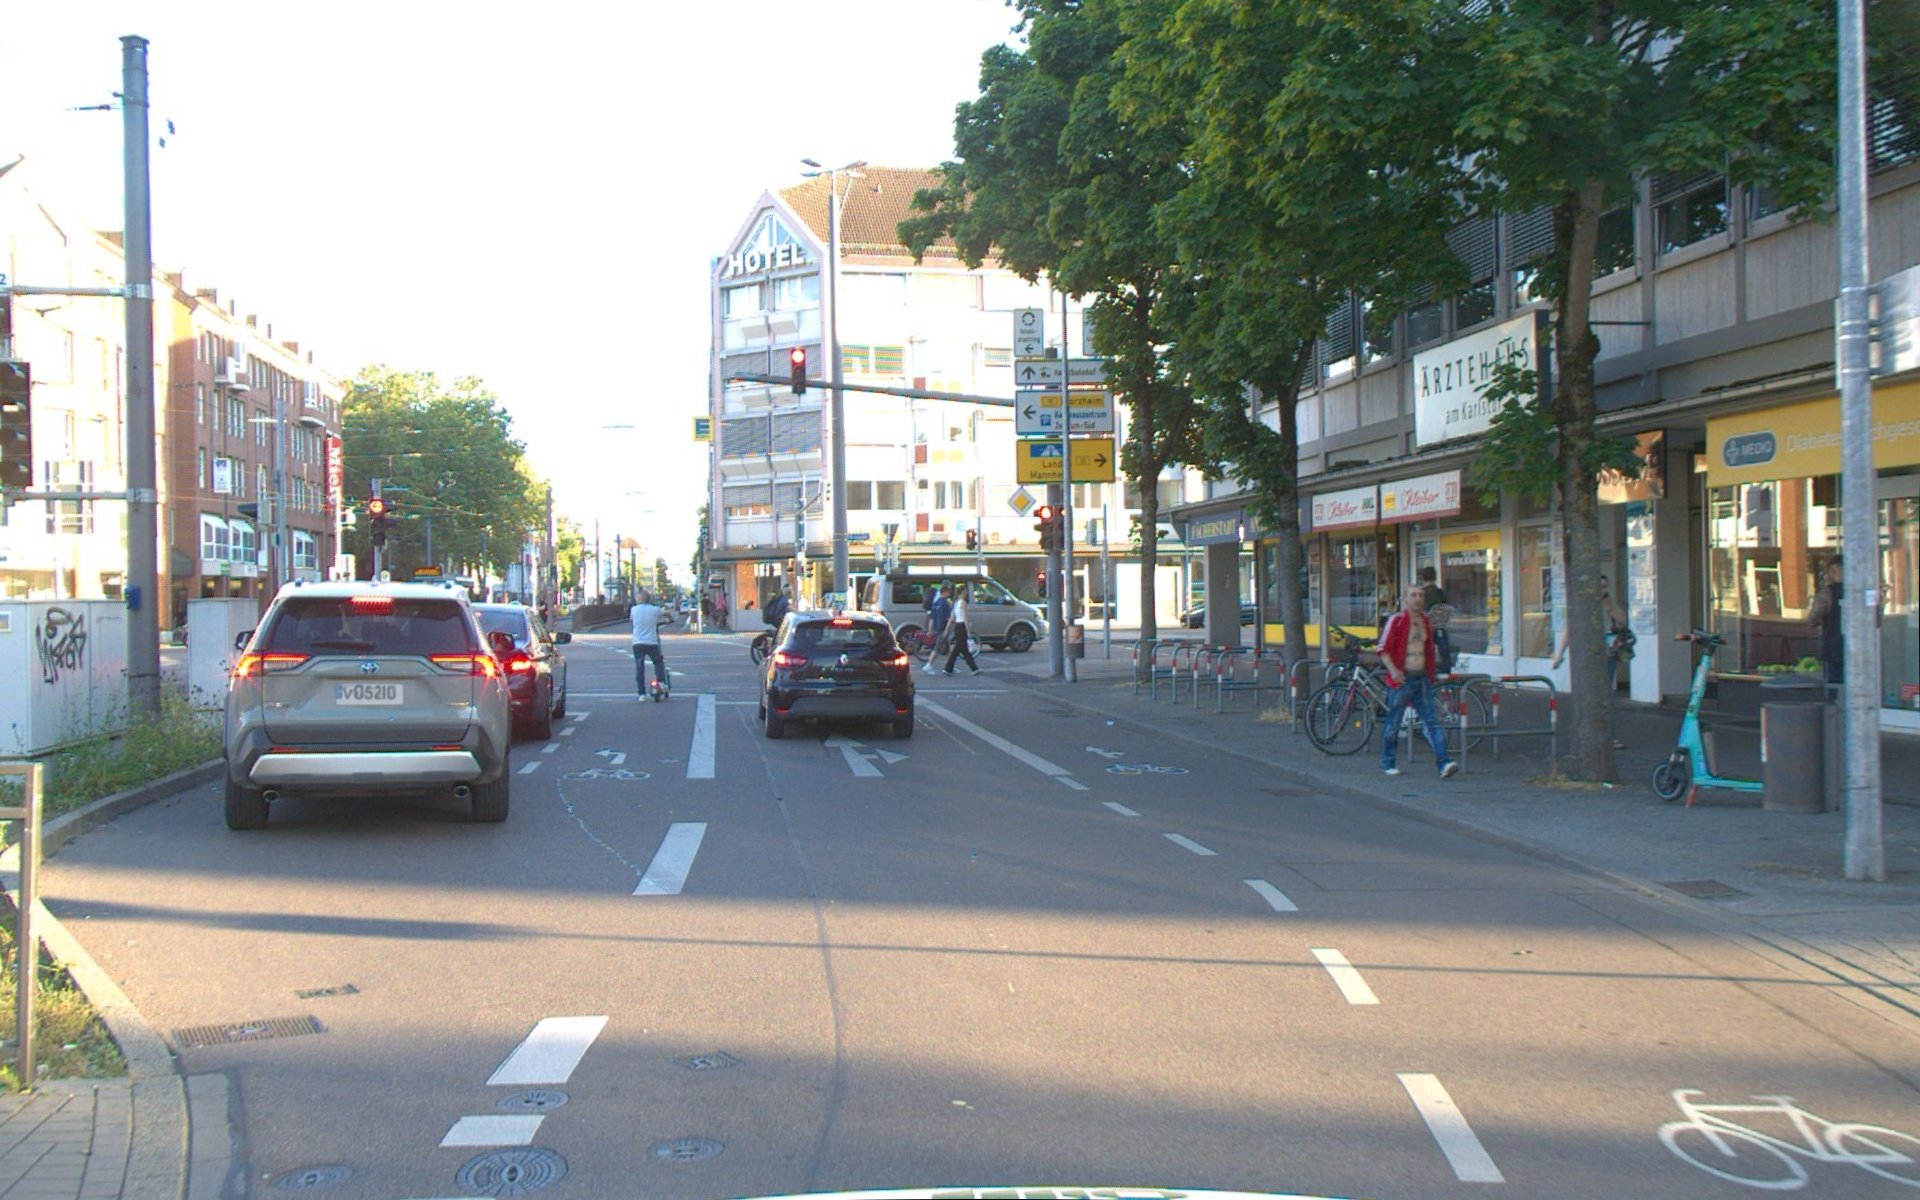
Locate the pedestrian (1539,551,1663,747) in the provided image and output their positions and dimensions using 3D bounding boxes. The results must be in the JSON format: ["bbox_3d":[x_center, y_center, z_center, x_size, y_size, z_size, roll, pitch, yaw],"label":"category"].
[{"bbox_3d":[6.124,0.460,15.838,0.732,1.810,0.971,1,-1,-8],"label":"pedestrian"}]

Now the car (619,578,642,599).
[{"bbox_3d":[-32.544,-1.123,163.570,1.956,1.934,3.992,1,-1,-8],"label":"car"}]

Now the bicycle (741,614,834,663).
[{"bbox_3d":[-3.793,0.837,36.414,2.002,1.046,0.415,0,0,-15],"label":"bicycle"}]

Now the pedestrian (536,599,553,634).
[{"bbox_3d":[-20.412,0.824,81.211,0.688,1.693,0.806,1,-1,-8],"label":"pedestrian"}]

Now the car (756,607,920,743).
[{"bbox_3d":[-1.585,0.831,20.237,1.731,1.465,3.992,0,0,-8],"label":"car"}]

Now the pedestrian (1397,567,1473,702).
[{"bbox_3d":[6.512,0.467,22.698,0.732,1.810,0.799,1,-1,-8],"label":"pedestrian"}]

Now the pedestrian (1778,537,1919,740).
[{"bbox_3d":[7.747,0.332,14.429,0.732,1.713,0.893,1,-1,-8],"label":"pedestrian"}]

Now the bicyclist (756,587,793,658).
[{"bbox_3d":[-4.157,0.495,37.101,0.692,1.537,0.548,-3,0,-15],"label":"bicyclist"}]

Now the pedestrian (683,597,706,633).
[{"bbox_3d":[-12.279,0.714,76.572,0.759,1.652,0.718,-1,0,43],"label":"pedestrian"}]

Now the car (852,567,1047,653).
[{"bbox_3d":[-0.273,0.233,42.356,4.614,2.049,1.988,-1,0,-20],"label":"car"}]

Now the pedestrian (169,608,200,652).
[{"bbox_3d":[-36.392,1.407,77.609,1.074,2.049,0.906,1,-1,-12],"label":"pedestrian"}]

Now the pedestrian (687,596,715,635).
[{"bbox_3d":[-11.830,0.722,75.544,0.836,1.756,0.930,0,-1,40],"label":"pedestrian"}]

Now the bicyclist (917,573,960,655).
[{"bbox_3d":[-0.504,0.330,38.625,0.846,1.911,0.644,1,-1,-16],"label":"bicyclist"}]

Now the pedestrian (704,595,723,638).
[{"bbox_3d":[-13.985,0.939,93.847,1.064,2.406,1.054,1,-1,-8],"label":"pedestrian"}]

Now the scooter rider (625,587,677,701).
[{"bbox_3d":[-4.607,0.647,24.699,0.648,1.676,0.661,1,-1,-1],"label":"scooter rider"}]

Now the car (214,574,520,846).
[{"bbox_3d":[-4.284,0.659,12.343,1.806,1.665,4.071,0,0,-17],"label":"car"}]

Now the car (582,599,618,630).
[{"bbox_3d":[-21.348,0.874,98.089,1.777,1.777,3.708,1,-1,-8],"label":"car"}]

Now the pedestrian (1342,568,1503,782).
[{"bbox_3d":[3.880,0.608,13.914,0.815,1.714,1.038,1,-1,-30],"label":"pedestrian"}]

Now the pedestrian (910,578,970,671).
[{"bbox_3d":[-0.411,0.495,33.480,0.984,1.862,0.722,1,-1,-29],"label":"pedestrian"}]

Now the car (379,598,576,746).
[{"bbox_3d":[-5.454,0.743,19.186,1.713,1.486,4.399,1,0,-10],"label":"car"}]

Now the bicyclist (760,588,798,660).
[{"bbox_3d":[-3.981,0.519,36.382,0.692,1.537,0.548,-3,0,-16],"label":"bicyclist"}]

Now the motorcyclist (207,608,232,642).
[{"bbox_3d":[-27.278,0.930,60.918,0.692,1.242,0.785,1,-1,-15],"label":"motorcyclist"}]

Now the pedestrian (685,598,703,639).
[{"bbox_3d":[-14.701,1.038,91.274,0.915,2.235,0.850,1,-1,-12],"label":"pedestrian"}]

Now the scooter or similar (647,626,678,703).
[{"bbox_3d":[-4.438,0.951,24.681,0.274,1.110,1.256,1,-1,-3],"label":"scooter or similar"}]

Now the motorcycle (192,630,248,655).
[{"bbox_3d":[-27.270,1.564,60.976,1.802,0.924,0.430,1,-1,-14],"label":"motorcycle"}]

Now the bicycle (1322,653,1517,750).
[{"bbox_3d":[4.445,0.977,16.029,1.781,0.907,0.415,1,-1,-3],"label":"bicycle"}]

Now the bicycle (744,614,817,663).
[{"bbox_3d":[-4.033,0.858,37.082,1.585,1.046,0.352,-1,0,-16],"label":"bicycle"}]

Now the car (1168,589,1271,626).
[{"bbox_3d":[11.116,0.333,70.953,3.916,1.502,1.994,1,-1,-11],"label":"car"}]

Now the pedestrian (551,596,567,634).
[{"bbox_3d":[-19.645,0.741,81.020,0.688,1.855,0.806,1,-1,-8],"label":"pedestrian"}]

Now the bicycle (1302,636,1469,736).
[{"bbox_3d":[4.364,0.880,16.999,1.624,0.991,0.386,1,-1,-3],"label":"bicycle"}]

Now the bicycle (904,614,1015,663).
[{"bbox_3d":[-0.008,0.907,38.774,2.596,1.119,0.434,1,-1,-16],"label":"bicycle"}]

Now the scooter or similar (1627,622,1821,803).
[{"bbox_3d":[5.448,0.791,11.822,1.197,1.239,0.293,-2,-2,37],"label":"scooter or similar"}]
